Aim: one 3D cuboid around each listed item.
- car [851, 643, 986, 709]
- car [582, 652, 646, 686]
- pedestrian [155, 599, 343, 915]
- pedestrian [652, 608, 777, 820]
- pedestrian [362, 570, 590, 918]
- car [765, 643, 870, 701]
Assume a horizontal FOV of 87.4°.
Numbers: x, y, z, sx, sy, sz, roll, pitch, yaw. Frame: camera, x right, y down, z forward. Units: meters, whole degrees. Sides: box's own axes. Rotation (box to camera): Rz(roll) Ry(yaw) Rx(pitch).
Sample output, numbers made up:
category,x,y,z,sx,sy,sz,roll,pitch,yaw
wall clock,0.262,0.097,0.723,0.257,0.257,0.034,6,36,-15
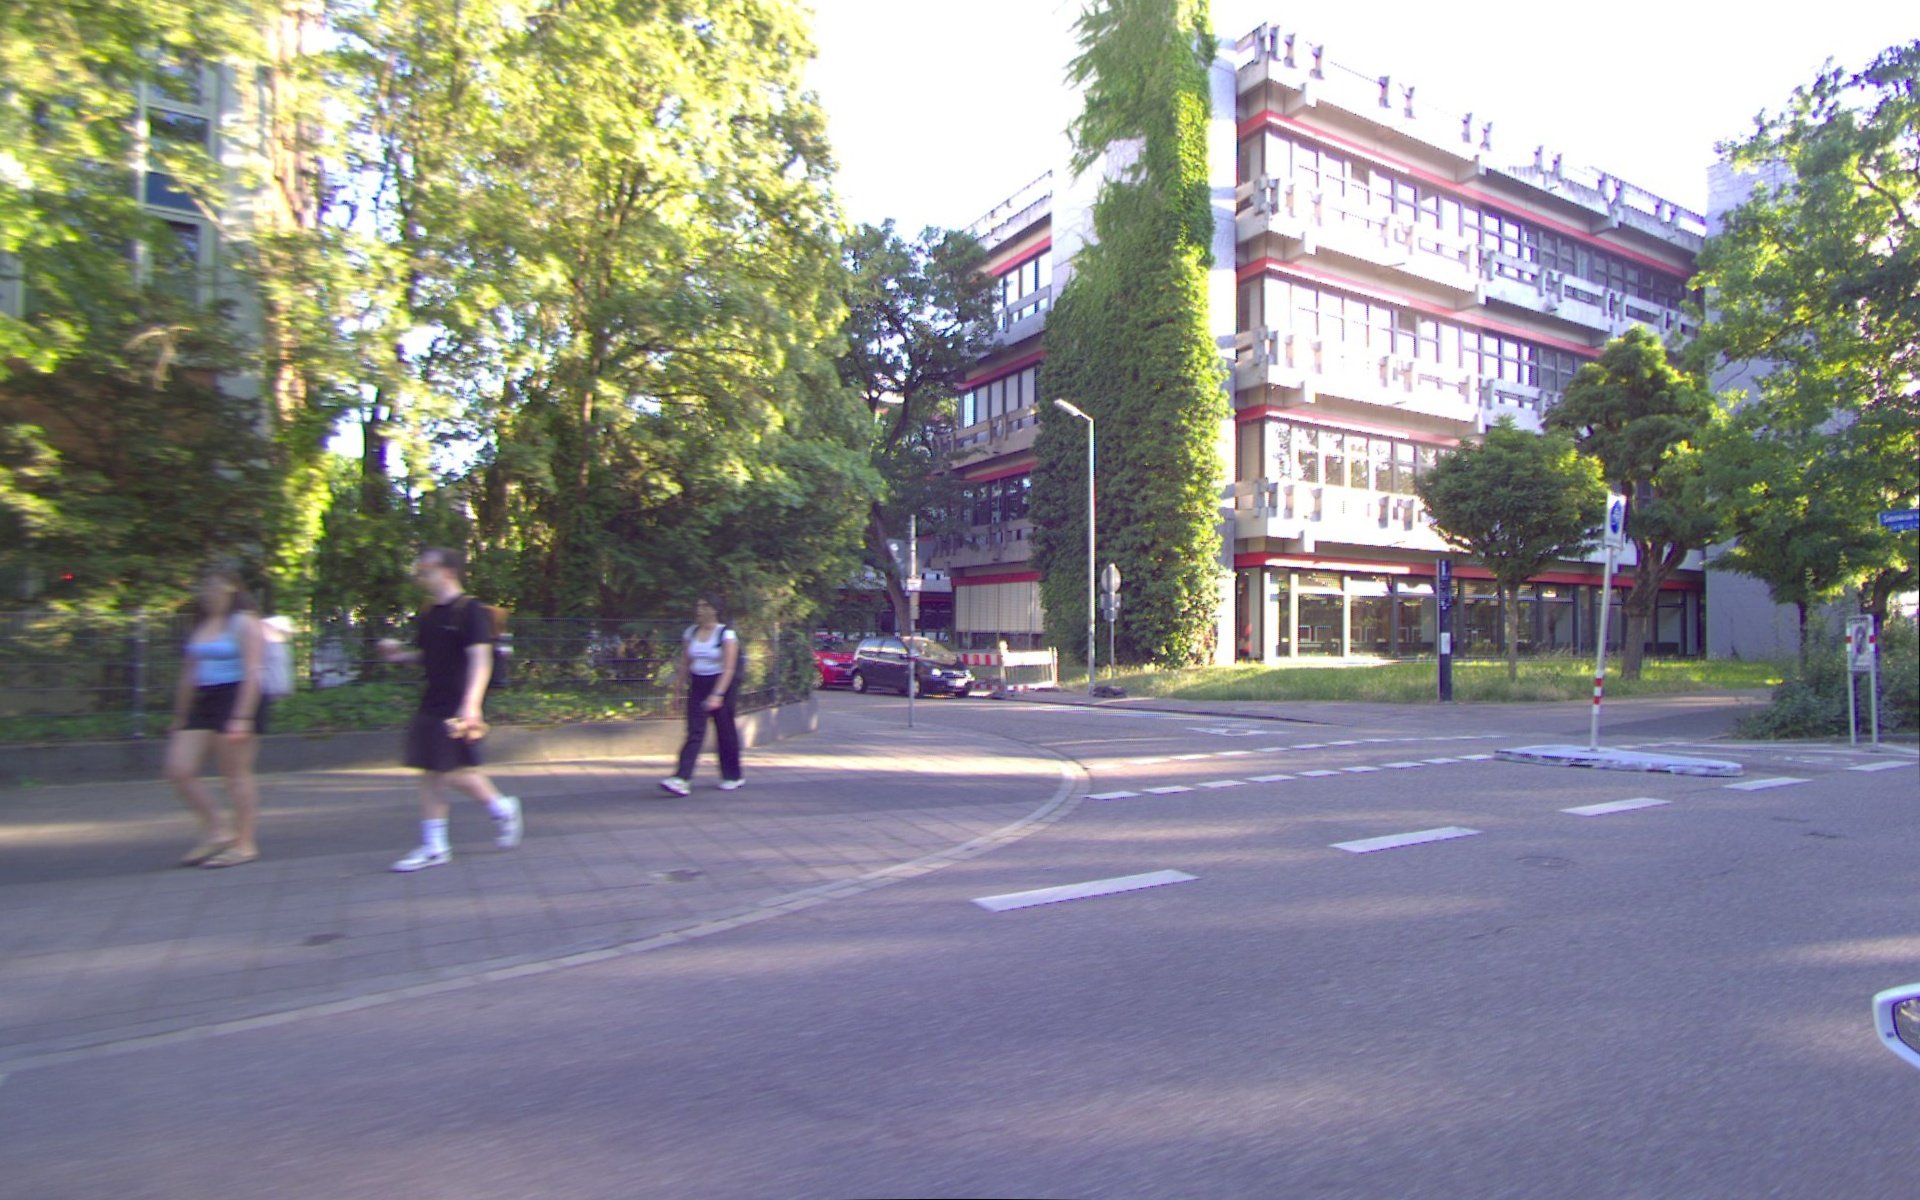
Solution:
category,x,y,z,sx,sy,sz,roll,pitch,yaw
car,-1.063,1.821,24.538,1.671,1.476,3.239,4,-4,-39
car,-13.561,2.665,39.336,1.487,1.238,2.870,1,-2,-39
pedestrian,-4.142,0.850,5.865,0.704,1.684,0.705,-1,-2,36
pedestrian,-2.069,0.921,8.501,0.704,1.684,0.764,-1,-2,36
pedestrian,-2.858,0.782,5.973,0.809,1.848,0.954,-1,-2,36
car,-3.936,1.937,27.449,1.363,1.476,3.240,4,-4,-39
